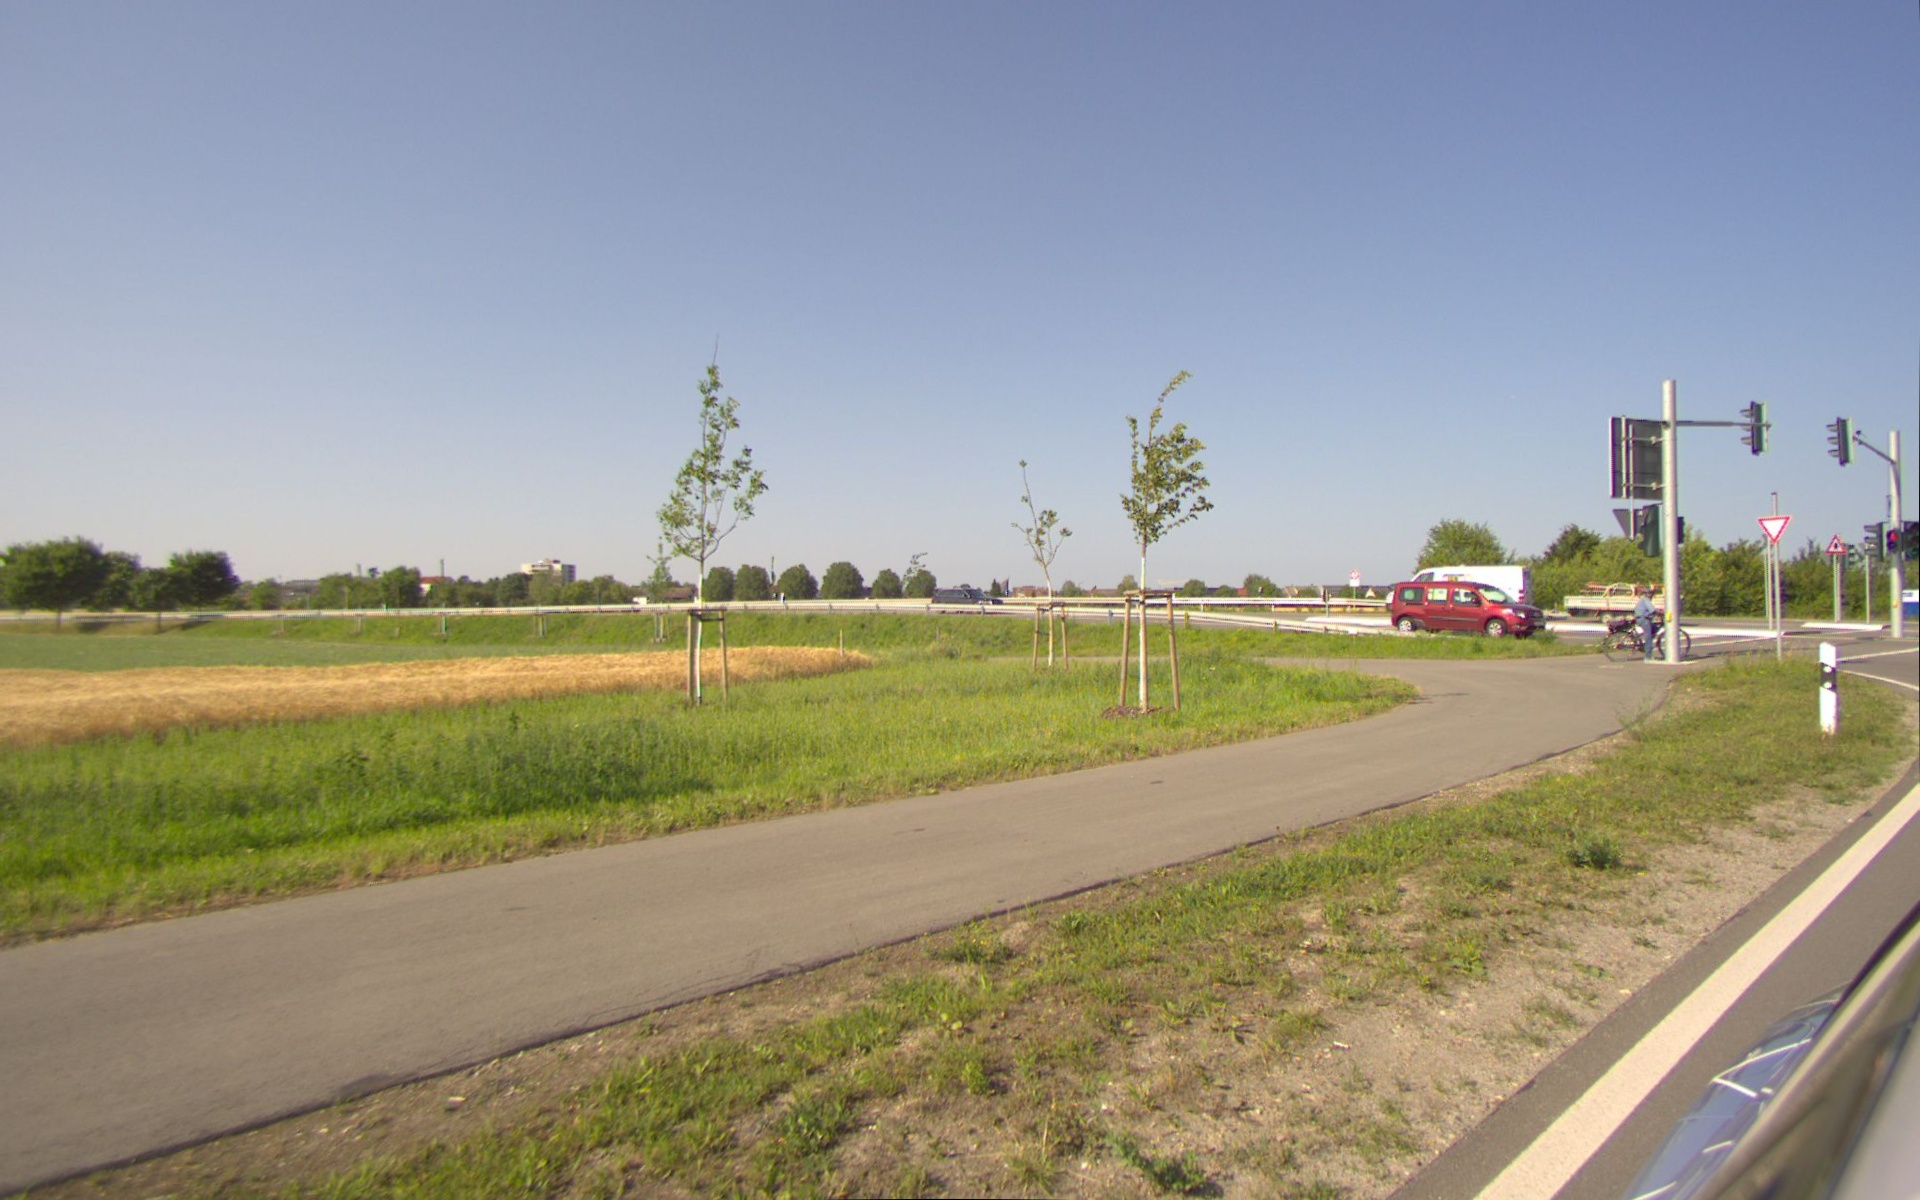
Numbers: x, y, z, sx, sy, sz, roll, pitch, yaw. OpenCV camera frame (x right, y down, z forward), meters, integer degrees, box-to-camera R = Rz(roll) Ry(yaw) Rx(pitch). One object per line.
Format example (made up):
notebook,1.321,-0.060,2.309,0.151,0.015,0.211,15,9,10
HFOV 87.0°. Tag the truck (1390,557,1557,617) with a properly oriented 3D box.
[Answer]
truck,22.177,-0.604,43.958,6.175,2.435,2.040,1,1,42

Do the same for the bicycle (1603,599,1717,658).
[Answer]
bicycle,15.524,0.630,22.496,1.913,1.165,0.680,-3,1,10

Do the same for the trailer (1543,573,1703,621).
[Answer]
trailer,26.133,-0.166,40.011,1.948,1.759,5.001,-1,1,-43

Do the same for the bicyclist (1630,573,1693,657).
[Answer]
bicyclist,15.576,0.328,22.489,0.903,1.787,0.618,-3,1,10

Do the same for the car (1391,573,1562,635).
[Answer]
car,16.437,0.113,32.490,1.661,1.860,4.701,-1,0,-32
